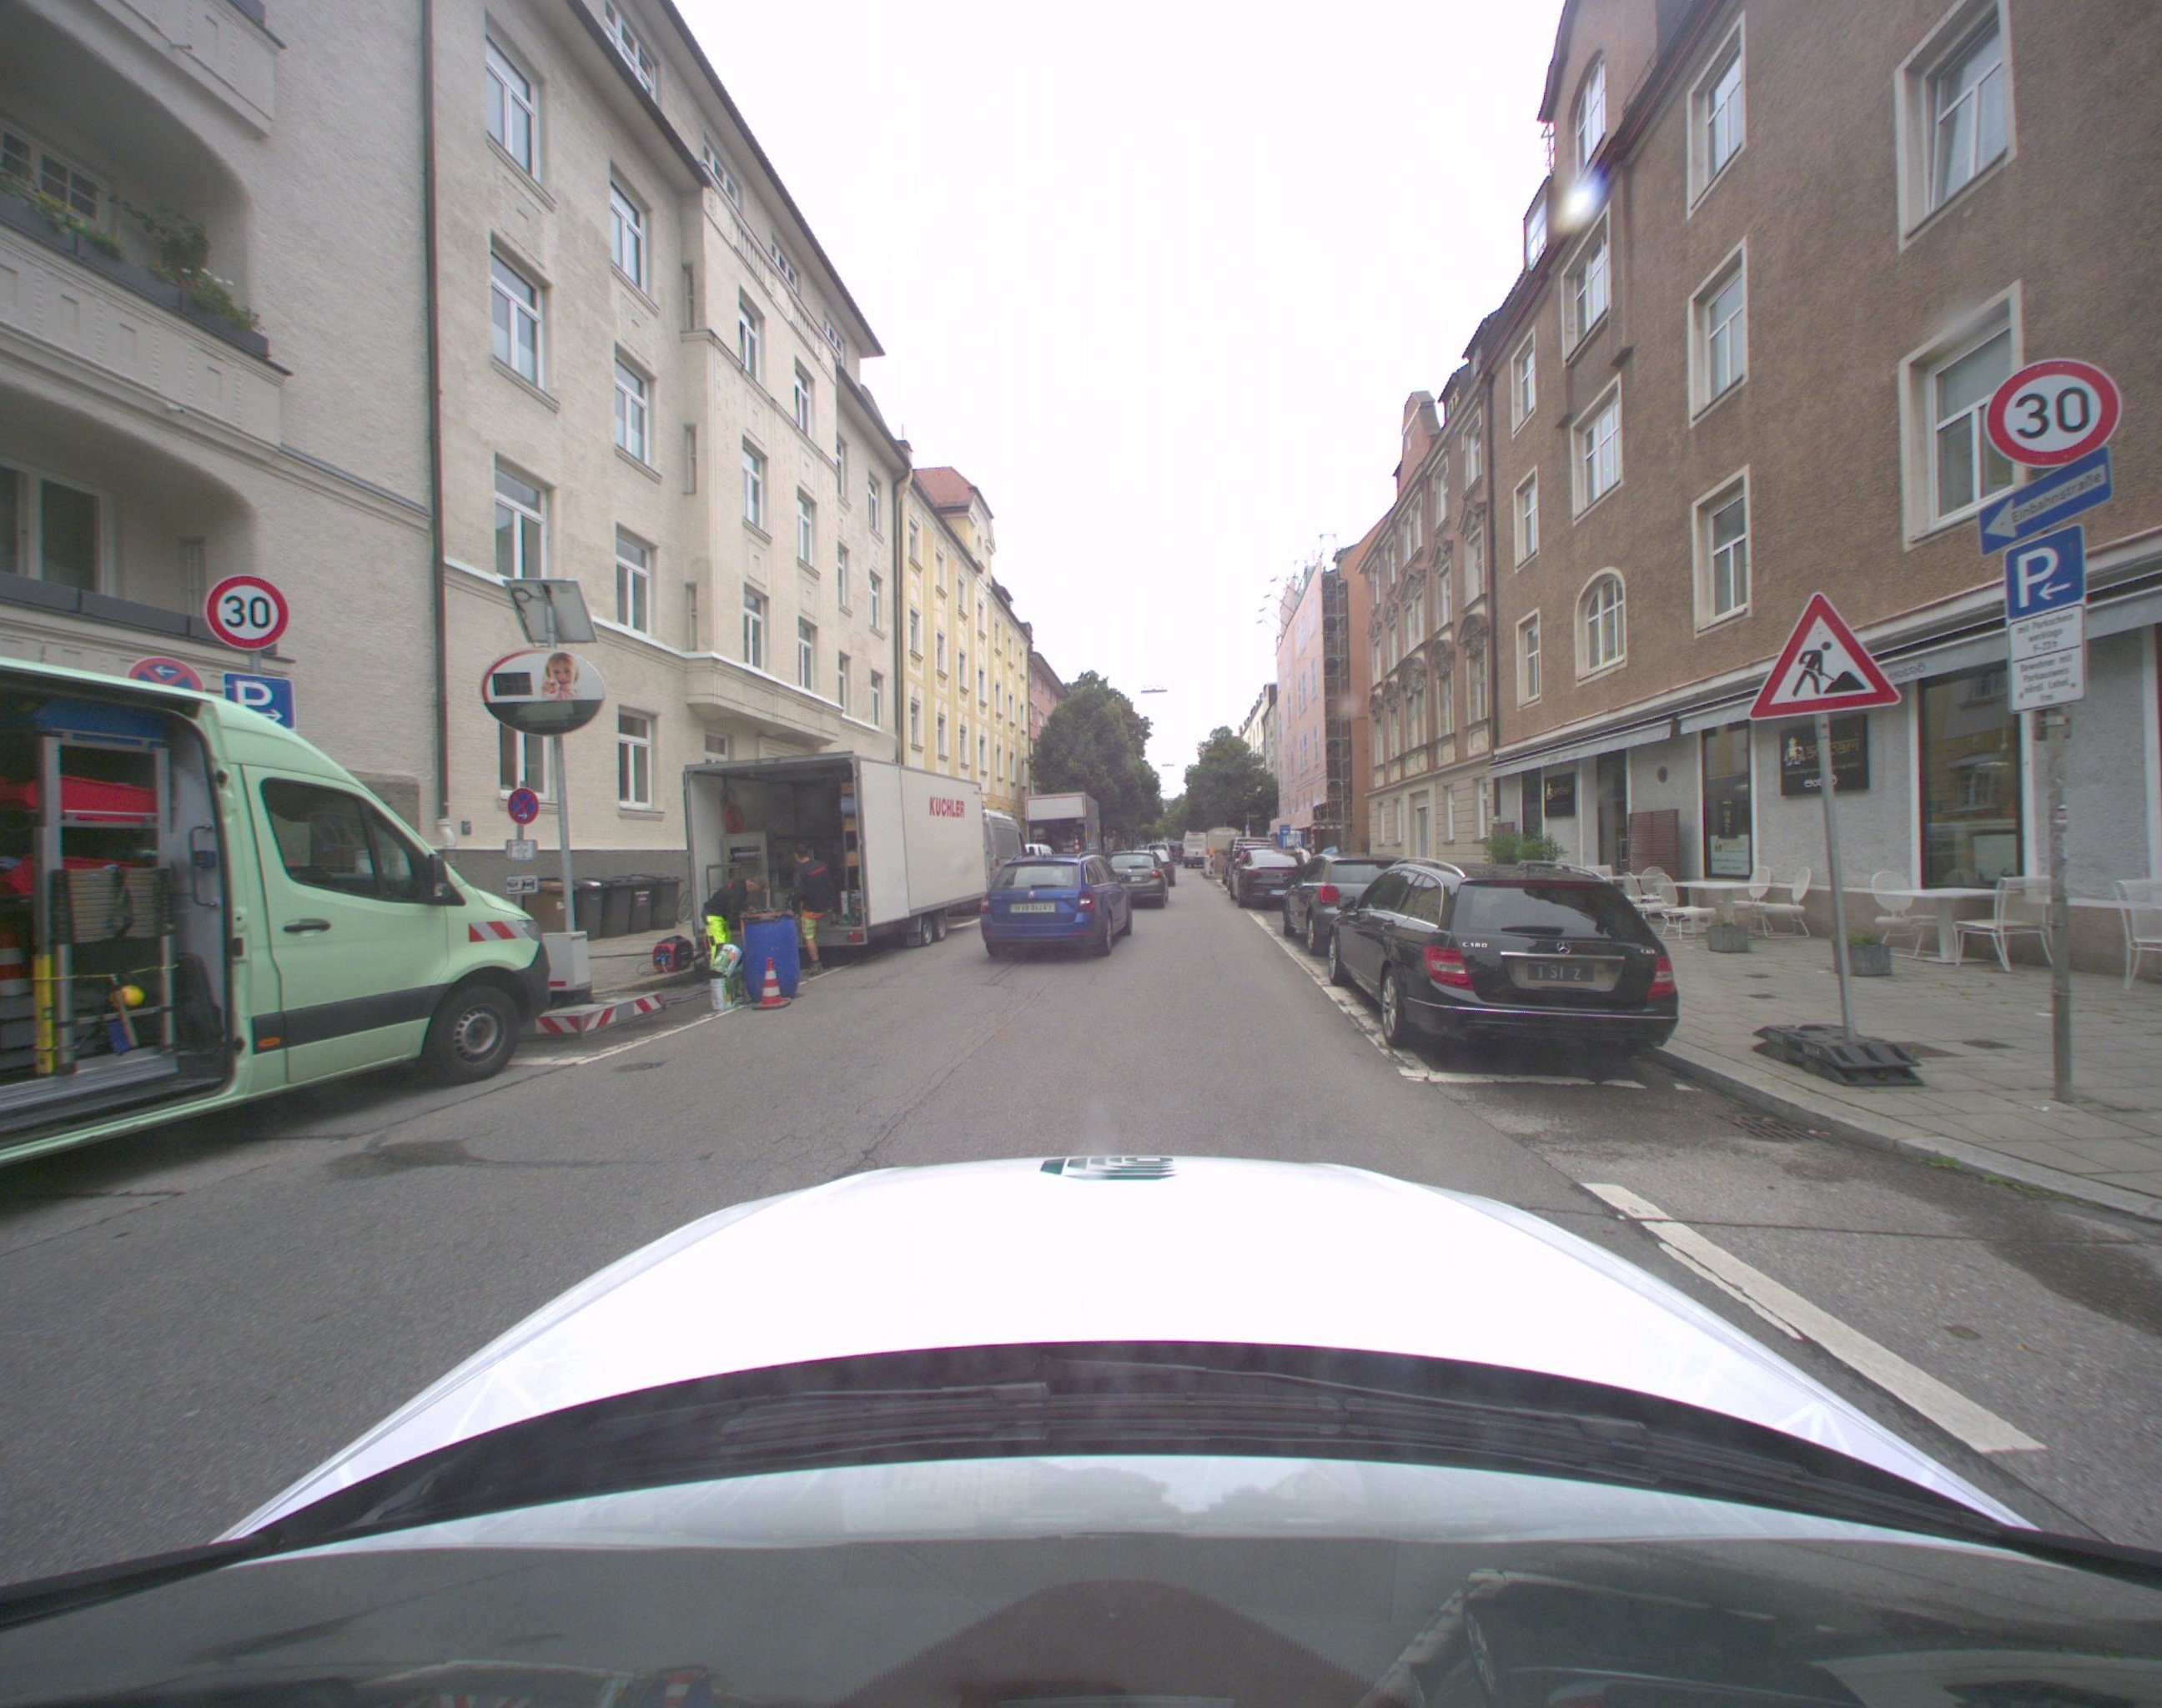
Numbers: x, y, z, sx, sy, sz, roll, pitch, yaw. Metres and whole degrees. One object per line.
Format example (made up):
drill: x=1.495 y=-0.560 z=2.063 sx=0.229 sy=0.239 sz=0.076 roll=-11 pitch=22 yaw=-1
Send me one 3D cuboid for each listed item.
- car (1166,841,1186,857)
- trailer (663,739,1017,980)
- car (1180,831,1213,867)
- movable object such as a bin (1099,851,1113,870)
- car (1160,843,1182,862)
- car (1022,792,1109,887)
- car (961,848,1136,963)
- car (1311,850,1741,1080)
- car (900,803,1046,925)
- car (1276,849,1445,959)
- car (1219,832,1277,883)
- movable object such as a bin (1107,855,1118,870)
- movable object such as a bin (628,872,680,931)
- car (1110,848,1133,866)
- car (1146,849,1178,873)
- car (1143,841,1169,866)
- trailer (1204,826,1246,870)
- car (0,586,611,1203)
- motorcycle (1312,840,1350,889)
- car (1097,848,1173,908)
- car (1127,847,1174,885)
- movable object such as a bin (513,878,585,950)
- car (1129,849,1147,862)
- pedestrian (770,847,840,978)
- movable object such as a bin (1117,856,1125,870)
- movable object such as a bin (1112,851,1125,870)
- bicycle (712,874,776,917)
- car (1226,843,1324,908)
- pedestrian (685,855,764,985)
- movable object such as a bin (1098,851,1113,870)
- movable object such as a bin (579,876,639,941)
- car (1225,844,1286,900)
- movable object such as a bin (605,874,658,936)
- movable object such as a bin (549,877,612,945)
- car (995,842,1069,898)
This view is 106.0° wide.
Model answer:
car: x=10.080 y=-0.552 z=86.527 sx=1.997 sy=1.653 sz=4.355 roll=0 pitch=1 yaw=6
trailer: x=-3.509 y=0.026 z=14.485 sx=2.787 sy=2.968 sz=7.620 roll=-4 pitch=0 yaw=9
car: x=8.996 y=-0.361 z=62.968 sx=2.098 sy=2.663 sz=5.519 roll=0 pitch=0 yaw=13
movable object such as a bin: x=1.956 y=0.480 z=63.540 sx=1.053 sy=1.376 sz=1.096 roll=-3 pitch=0 yaw=3
car: x=8.164 y=-0.123 z=73.630 sx=1.857 sy=1.653 sz=4.356 roll=0 pitch=1 yaw=7
car: x=-0.493 y=-0.614 z=37.607 sx=2.798 sy=3.817 sz=8.739 roll=-1 pitch=0 yaw=7
car: x=-0.288 y=0.657 z=12.574 sx=1.778 sy=1.460 sz=4.326 roll=-1 pitch=0 yaw=10
car: x=3.429 y=0.685 z=7.475 sx=1.837 sy=1.405 sz=4.798 roll=-1 pitch=0 yaw=7
car: x=-2.615 y=0.206 z=21.947 sx=2.045 sy=2.587 sz=6.889 roll=-5 pitch=0 yaw=7
car: x=4.126 y=0.659 z=12.656 sx=1.564 sy=1.394 sz=4.190 roll=-1 pitch=0 yaw=6
car: x=6.817 y=0.212 z=33.716 sx=2.071 sy=1.921 sz=5.151 roll=0 pitch=-2 yaw=8
movable object such as a bin: x=2.376 y=0.640 z=61.550 sx=0.708 sy=1.148 sz=0.637 roll=-3 pitch=0 yaw=3
movable object such as a bin: x=-8.378 y=0.925 z=15.995 sx=0.668 sy=1.128 sz=0.556 roll=-2 pitch=0 yaw=9
car: x=3.492 y=0.230 z=70.231 sx=1.803 sy=1.478 sz=4.006 roll=0 pitch=1 yaw=5
car: x=5.030 y=0.411 z=49.947 sx=1.857 sy=1.348 sz=4.356 roll=0 pitch=1 yaw=7
car: x=5.827 y=-0.097 z=63.230 sx=1.857 sy=1.869 sz=4.356 roll=0 pitch=1 yaw=7
trailer: x=9.761 y=-0.367 z=55.737 sx=2.489 sy=2.840 sz=6.914 roll=0 pitch=0 yaw=7
car: x=-5.539 y=0.178 z=3.688 sx=2.129 sy=2.572 sz=6.809 roll=-1 pitch=0 yaw=8
motorcycle: x=7.939 y=0.323 z=25.924 sx=0.866 sy=1.504 sz=2.002 roll=-1 pitch=0 yaw=9
car: x=1.519 y=0.590 z=21.613 sx=1.731 sy=1.422 sz=3.671 roll=-1 pitch=0 yaw=7
car: x=2.947 y=0.444 z=34.032 sx=1.858 sy=1.454 sz=4.355 roll=0 pitch=1 yaw=6
movable object such as a bin: x=-8.836 y=0.987 z=13.545 sx=0.644 sy=1.128 sz=0.732 roll=-2 pitch=0 yaw=10
car: x=6.515 y=0.135 z=92.854 sx=1.802 sy=1.478 sz=4.008 roll=0 pitch=1 yaw=7
pedestrian: x=-3.596 y=0.741 z=10.656 sx=0.762 sy=1.631 sz=0.634 roll=-2 pitch=0 yaw=-13
movable object such as a bin: x=2.995 y=0.650 z=61.545 sx=0.544 sy=1.020 sz=0.637 roll=-3 pitch=0 yaw=3
movable object such as a bin: x=2.890 y=0.478 z=62.417 sx=0.914 sy=1.376 sz=1.080 roll=-3 pitch=0 yaw=3
bicycle: x=-7.918 y=0.961 z=19.202 sx=0.391 sy=0.914 sz=1.596 roll=2 pitch=0 yaw=19
car: x=5.162 y=0.502 z=22.403 sx=1.921 sy=1.553 sz=5.646 roll=0 pitch=0 yaw=6
pedestrian: x=-4.517 y=0.809 z=10.359 sx=0.761 sy=1.580 sz=0.635 roll=-2 pitch=0 yaw=-11
movable object such as a bin: x=1.894 y=0.462 z=62.439 sx=1.077 sy=1.376 sz=1.084 roll=-3 pitch=0 yaw=3
movable object such as a bin: x=-8.596 y=0.988 z=14.849 sx=0.672 sy=1.128 sz=0.640 roll=-2 pitch=0 yaw=10
car: x=5.823 y=0.556 z=27.573 sx=1.684 sy=1.676 sz=4.417 roll=2 pitch=0 yaw=8
movable object such as a bin: x=-8.505 y=0.953 z=15.433 sx=0.644 sy=1.128 sz=0.556 roll=-2 pitch=0 yaw=9
movable object such as a bin: x=-8.732 y=0.988 z=14.227 sx=0.644 sy=1.128 sz=0.640 roll=-2 pitch=0 yaw=10
car: x=-1.682 y=0.532 z=29.326 sx=1.753 sy=1.779 sz=4.336 roll=-3 pitch=0 yaw=8
